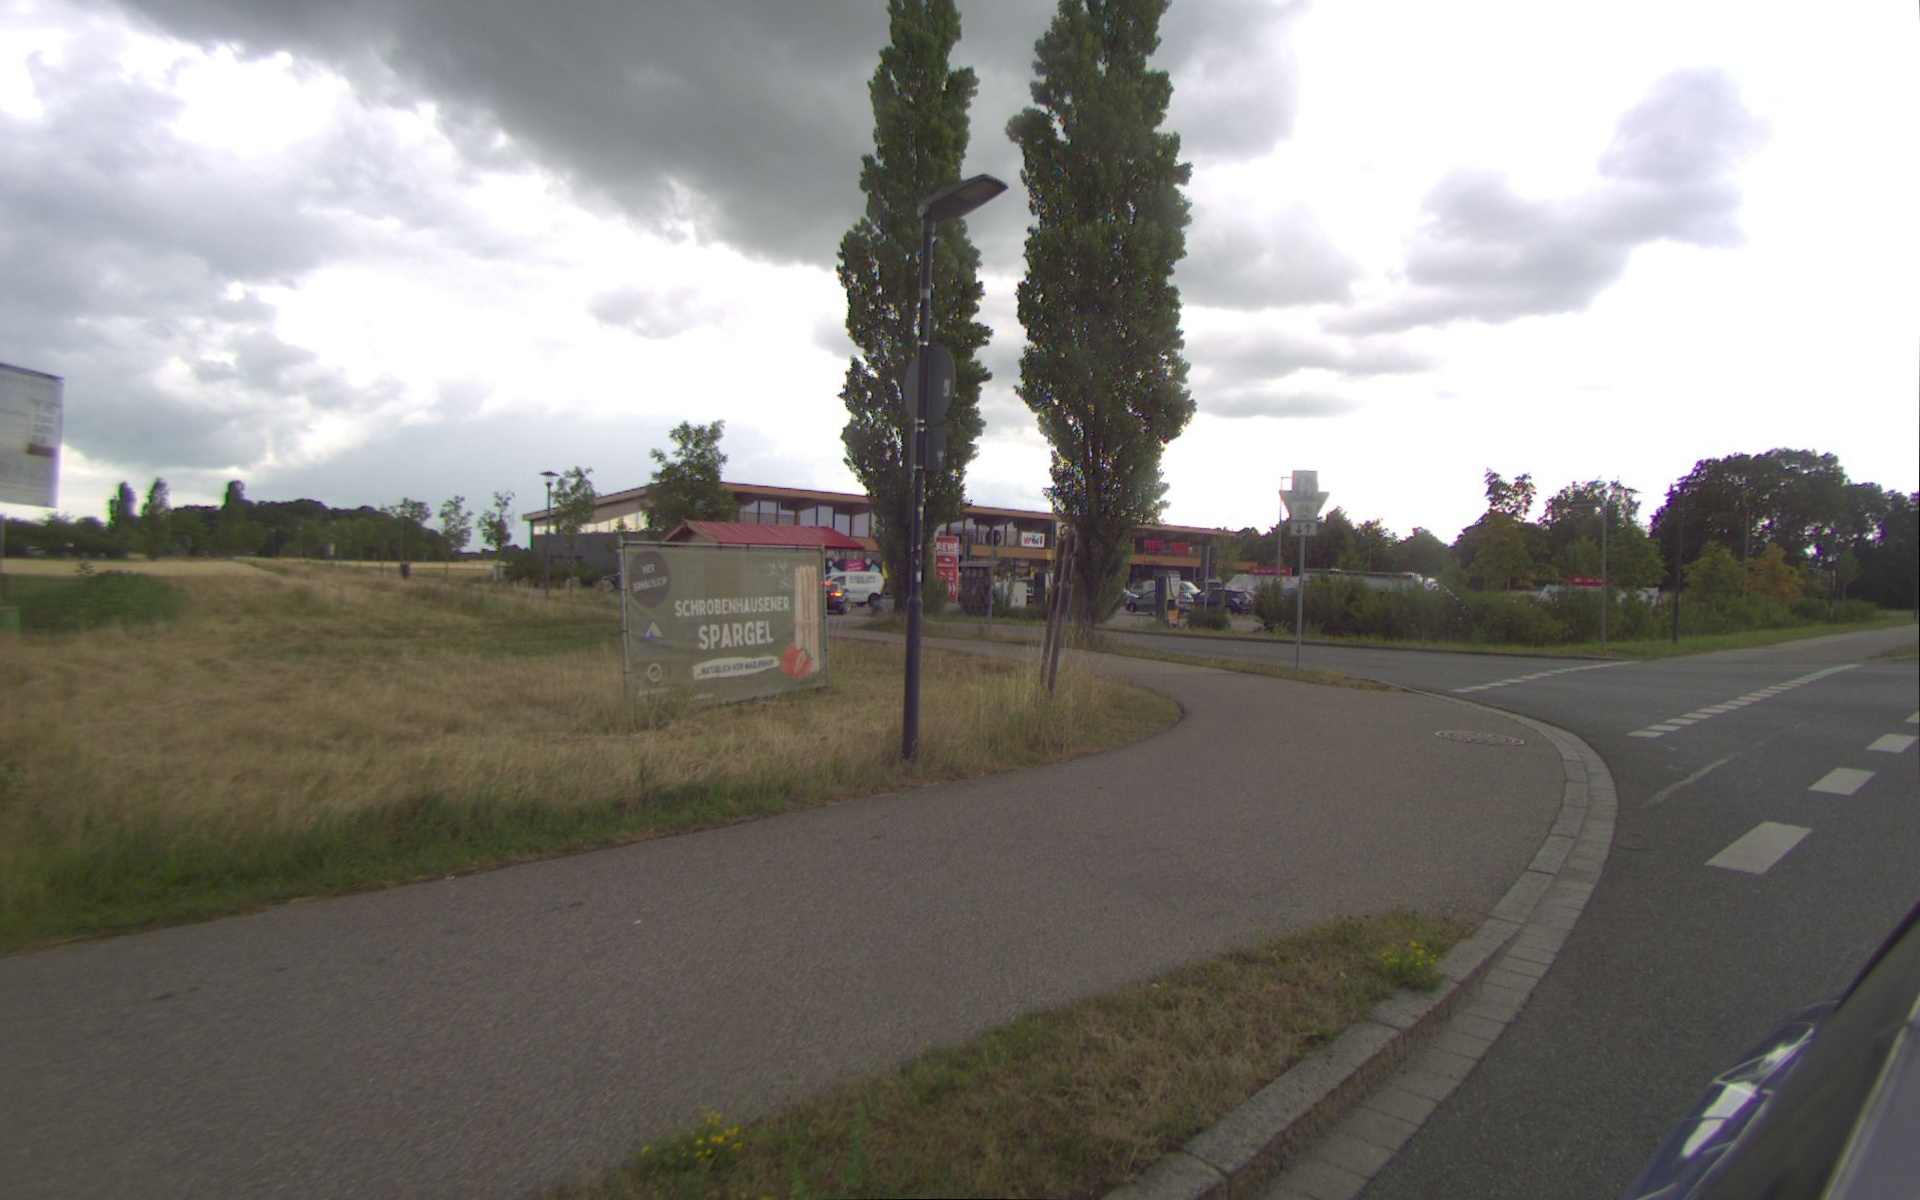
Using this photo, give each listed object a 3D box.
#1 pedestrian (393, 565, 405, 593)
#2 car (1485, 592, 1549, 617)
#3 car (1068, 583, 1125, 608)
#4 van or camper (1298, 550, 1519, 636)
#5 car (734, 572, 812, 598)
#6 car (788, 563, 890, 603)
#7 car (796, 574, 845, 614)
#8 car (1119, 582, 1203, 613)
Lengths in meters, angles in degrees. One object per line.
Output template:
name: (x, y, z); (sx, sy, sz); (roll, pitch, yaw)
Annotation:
pedestrian: (-35.856, -1.324, 64.686); (0.589, 1.783, 0.483); (0, 3, -41)
car: (39.822, 0.297, 72.385); (1.723, 1.551, 3.556); (0, 3, -42)
car: (9.519, -0.355, 70.848); (1.761, 1.495, 3.747); (0, 3, -40)
van or camper: (15.191, -0.330, 34.696); (2.243, 2.494, 6.477); (0, 3, -42)
car: (-11.101, -0.888, 60.214); (4.181, 1.365, 1.837); (0, 3, -40)
car: (-6.316, -0.891, 52.953); (4.845, 1.929, 2.112); (1, 3, -33)
car: (-6.088, -0.295, 43.800); (1.793, 1.405, 4.398); (2, 3, -11)
car: (10.996, -0.175, 55.617); (1.869, 1.450, 4.185); (0, 4, -42)
